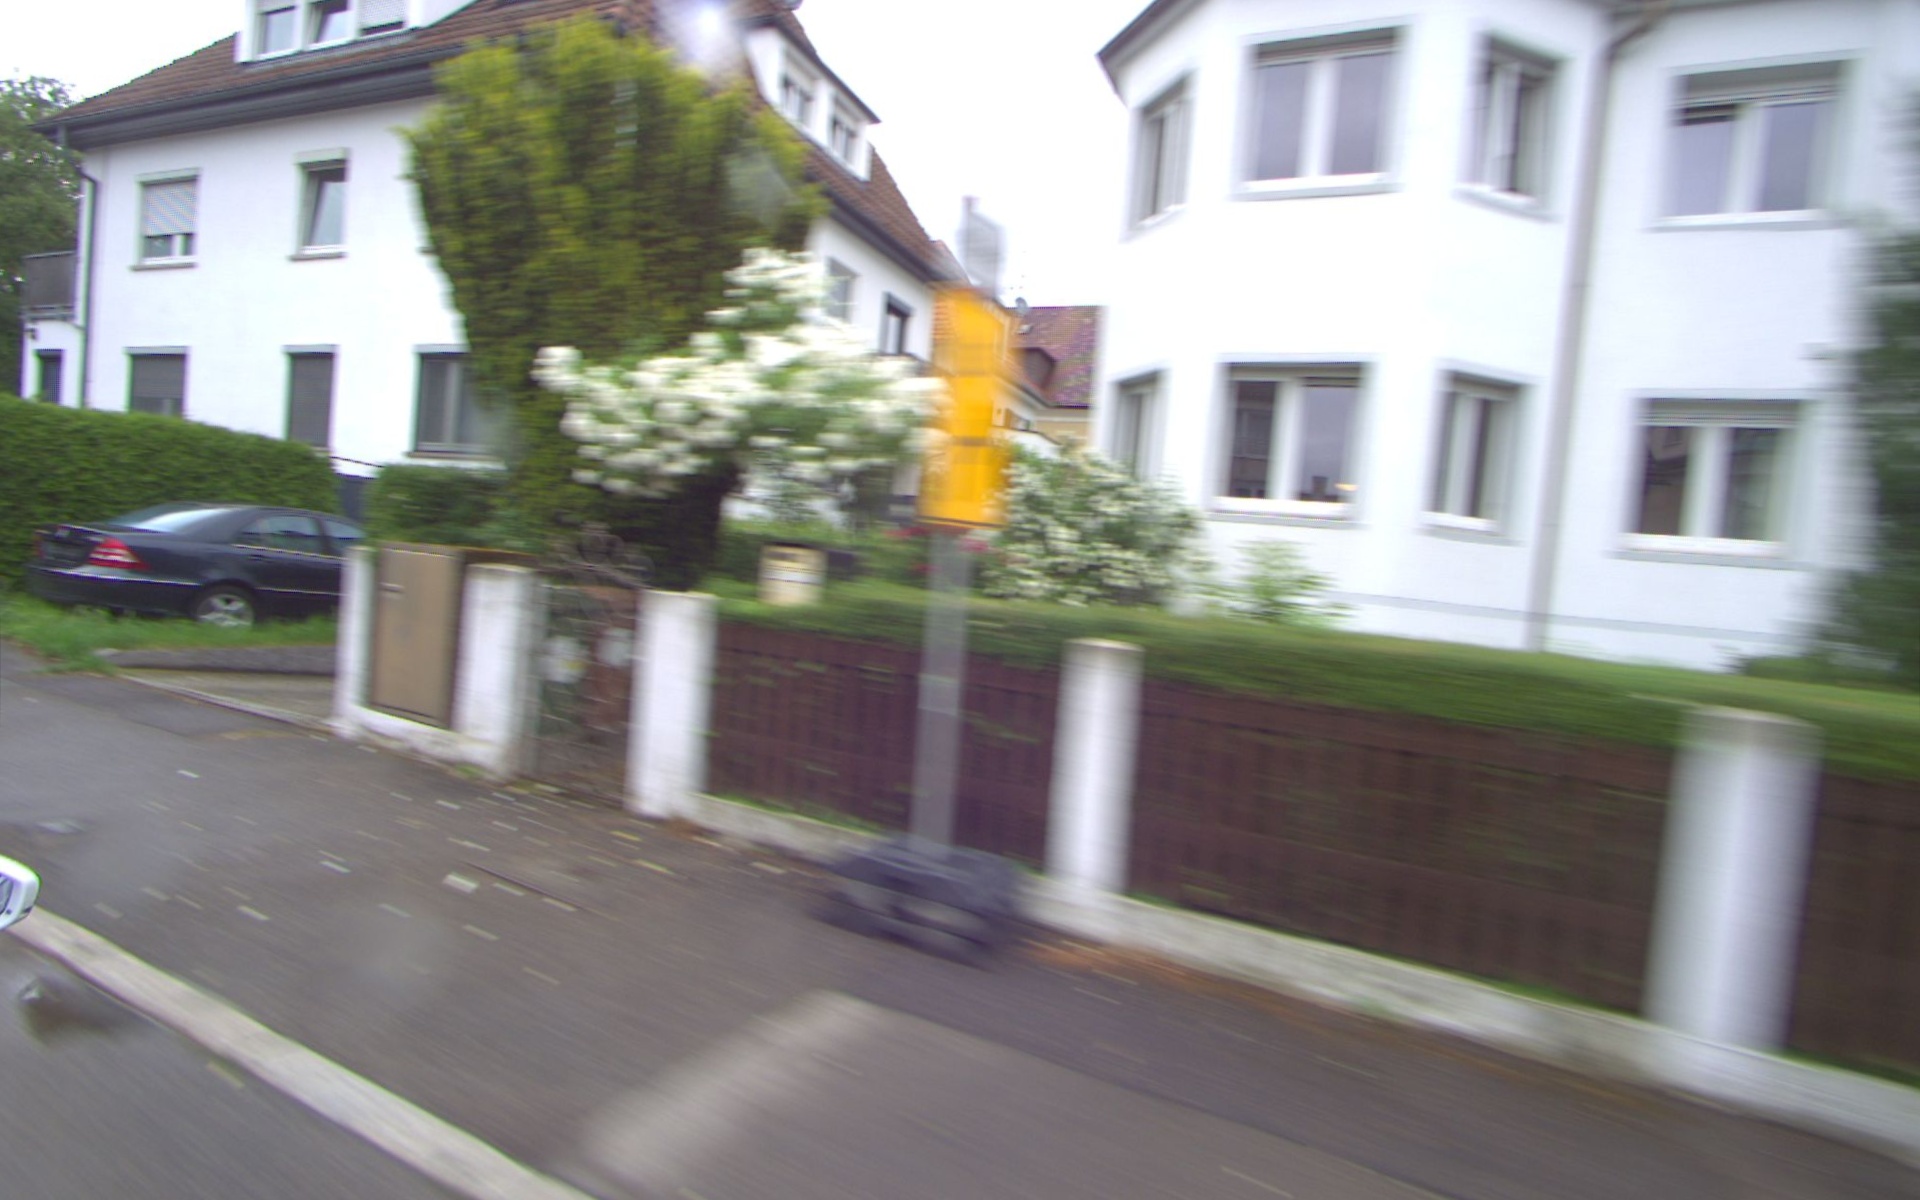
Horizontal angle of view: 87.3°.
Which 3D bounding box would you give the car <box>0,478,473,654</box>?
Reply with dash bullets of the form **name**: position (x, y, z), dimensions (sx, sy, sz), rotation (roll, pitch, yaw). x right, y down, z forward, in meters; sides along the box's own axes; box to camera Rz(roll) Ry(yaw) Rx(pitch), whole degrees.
- **car**: position (-7.443, -0.267, 10.749), dimensions (1.588, 1.406, 3.749), rotation (9, 2, 26)
